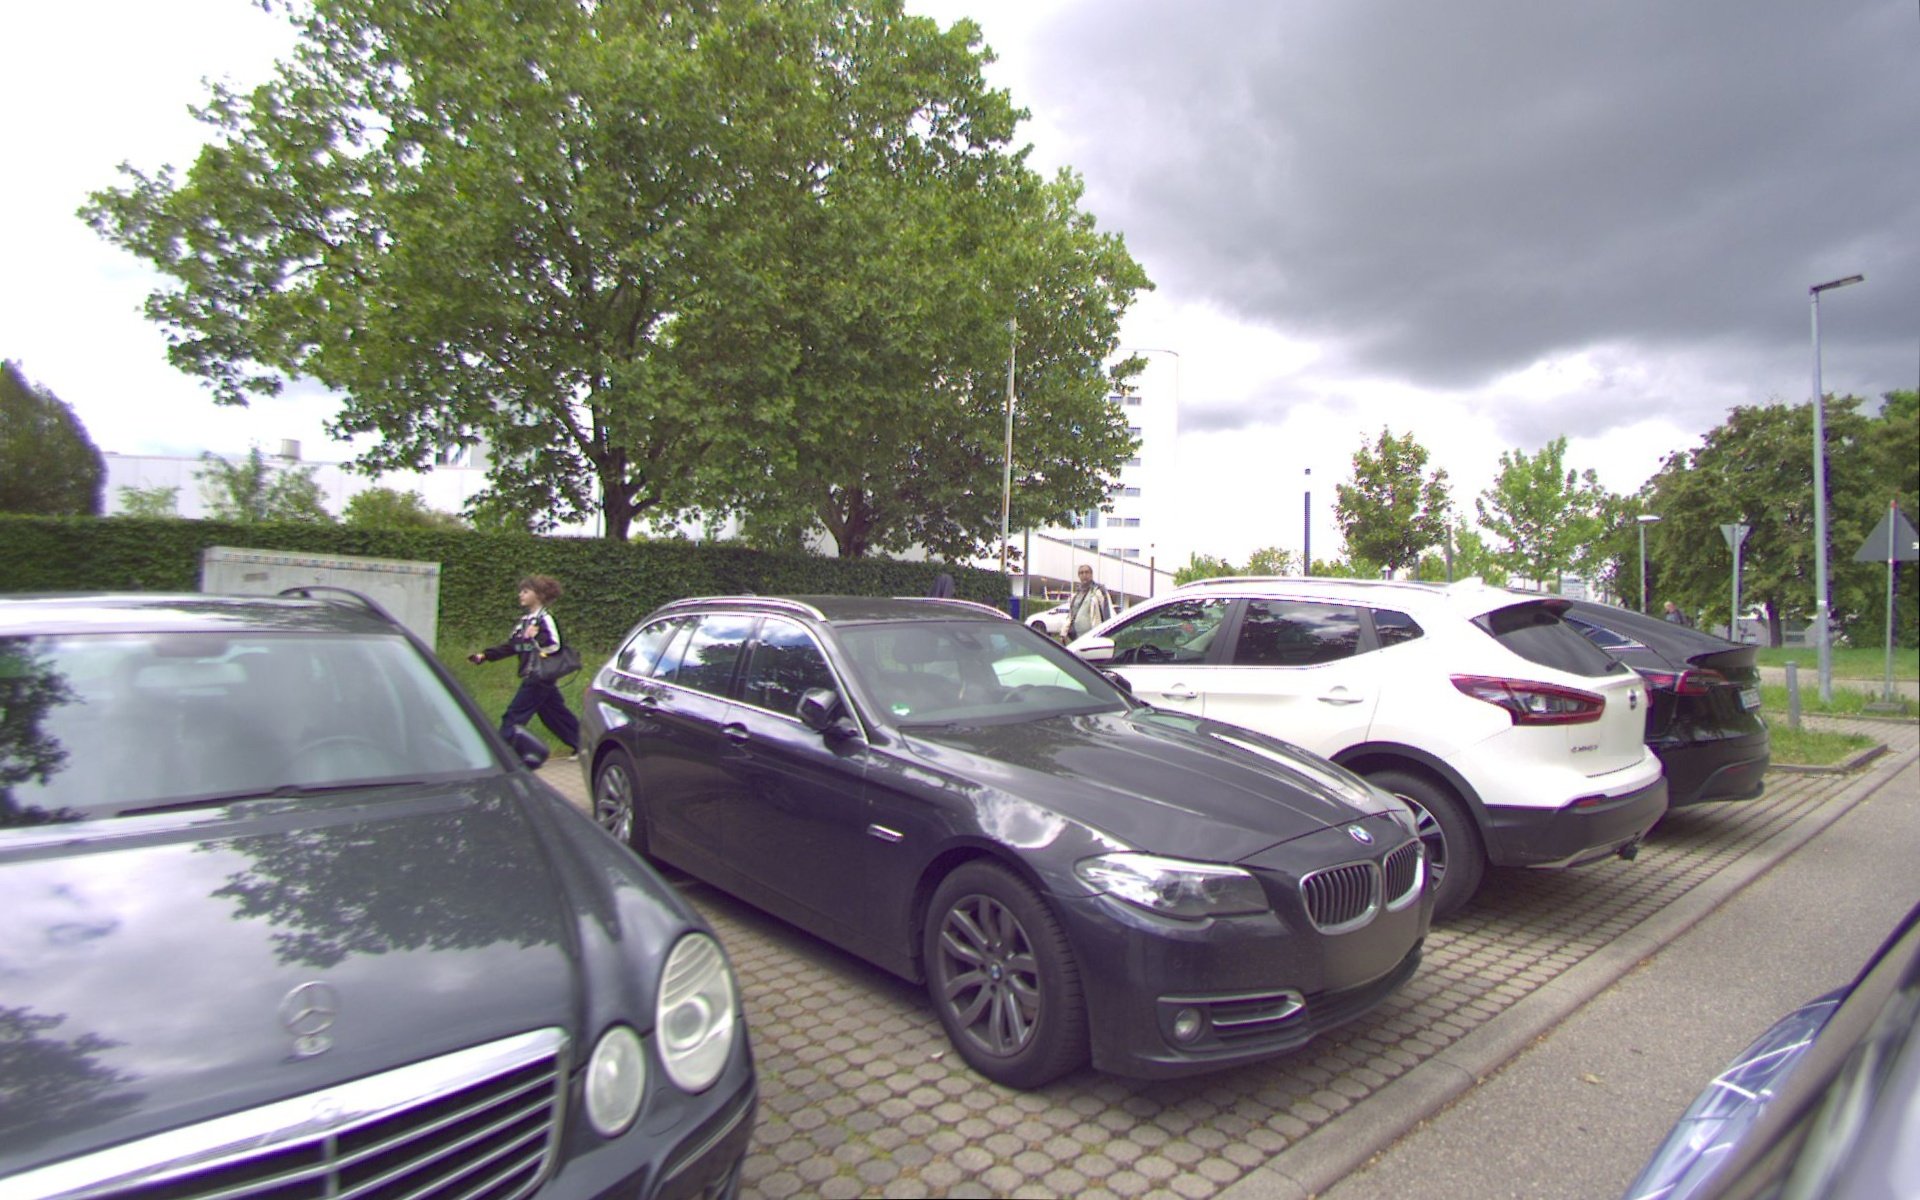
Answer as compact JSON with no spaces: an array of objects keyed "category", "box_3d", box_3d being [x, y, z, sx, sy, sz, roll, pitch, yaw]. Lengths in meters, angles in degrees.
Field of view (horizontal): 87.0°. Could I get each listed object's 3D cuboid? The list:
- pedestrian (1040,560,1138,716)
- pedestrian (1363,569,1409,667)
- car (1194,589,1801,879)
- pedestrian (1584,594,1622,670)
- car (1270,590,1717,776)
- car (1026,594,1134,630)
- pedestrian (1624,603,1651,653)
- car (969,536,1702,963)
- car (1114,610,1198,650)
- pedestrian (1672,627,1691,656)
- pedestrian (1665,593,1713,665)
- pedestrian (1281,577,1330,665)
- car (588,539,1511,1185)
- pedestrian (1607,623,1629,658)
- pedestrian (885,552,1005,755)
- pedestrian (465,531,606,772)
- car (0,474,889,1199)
[{"category":"pedestrian","box_3d":[1.576,0.454,12.383,0.862,1.816,0.832,2,-2,-39]},{"category":"pedestrian","box_3d":[7.363,0.318,17.529,0.681,1.642,0.925,0,-2,20]},{"category":"car","box_3d":[3.708,0.736,7.535,1.564,1.594,3.680,0,0,-37]},{"category":"pedestrian","box_3d":[14.706,0.718,23.158,0.648,1.690,0.885,-1,-2,37]},{"category":"car","box_3d":[5.189,0.691,10.249,1.615,1.517,3.680,1,-1,-37]},{"category":"car","box_3d":[4.860,0.509,41.190,4.083,1.409,1.691,0,-2,30]},{"category":"pedestrian","box_3d":[22.607,0.933,33.779,0.630,1.665,0.599,0,-2,22]},{"category":"car","box_3d":[1.896,0.595,5.985,1.817,1.668,3.680,1,-1,-37]},{"category":"car","box_3d":[10.138,1.538,52.427,3.958,2.040,1.982,0,-2,25]},{"category":"pedestrian","box_3d":[36.676,2.111,51.448,0.670,1.433,0.660,-1,-2,30]},{"category":"pedestrian","box_3d":[18.125,0.717,25.182,0.754,1.744,0.880,0,-2,21]},{"category":"pedestrian","box_3d":[7.003,0.428,20.535,0.692,1.733,0.656,1,-2,-33]},{"category":"car","box_3d":[-0.018,0.648,4.552,1.851,1.538,3.993,0,-1,-41]},{"category":"pedestrian","box_3d":[31.319,1.922,48.194,0.654,1.627,0.676,1,-2,-35]},{"category":"pedestrian","box_3d":[-0.141,0.491,9.631,0.862,1.816,0.741,2,-2,-39]},{"category":"pedestrian","box_3d":[-3.432,0.397,8.182,0.862,1.816,0.741,2,-2,-39]},{"category":"car","box_3d":[-2.422,0.582,3.219,1.919,1.511,4.578,0,0,-44]}]
